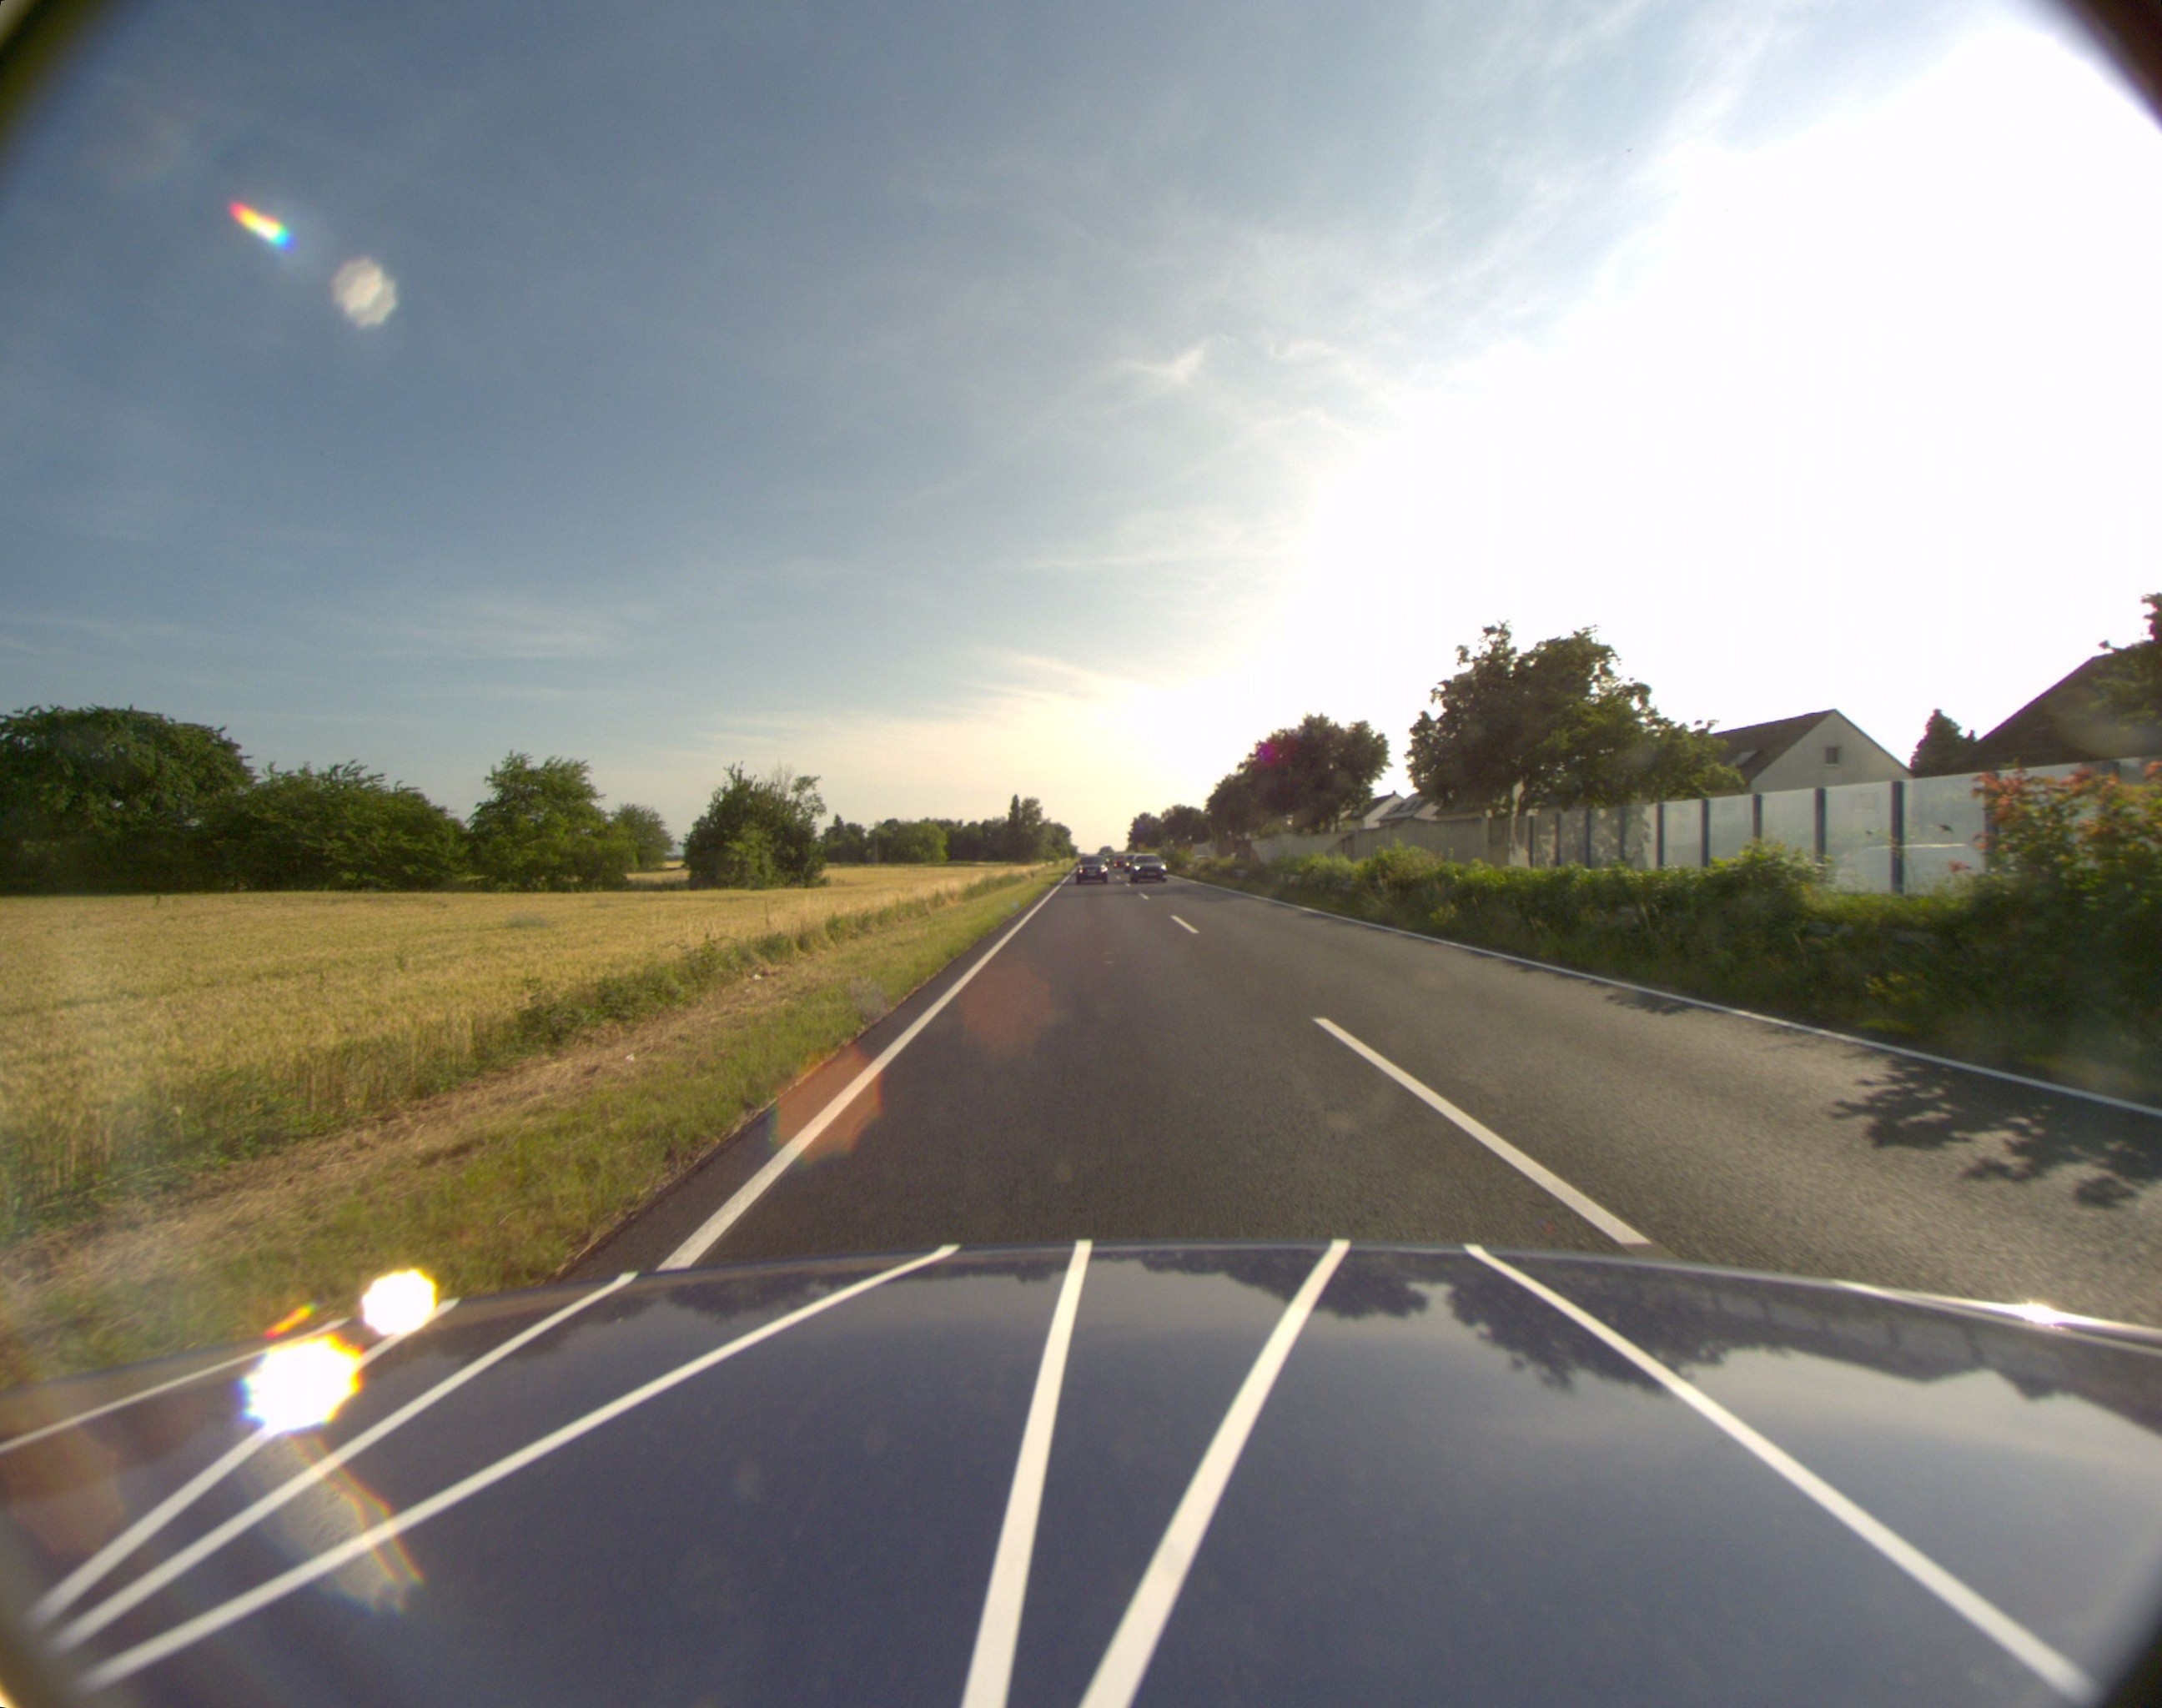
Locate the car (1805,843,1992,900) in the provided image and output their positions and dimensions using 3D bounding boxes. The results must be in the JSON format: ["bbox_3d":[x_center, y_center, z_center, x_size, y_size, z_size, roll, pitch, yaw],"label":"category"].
[{"bbox_3d":[30.548,0.568,28.681,1.790,1.908,4.914,-2,1,1],"label":"car"}]

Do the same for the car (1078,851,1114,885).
[{"bbox_3d":[0.842,0.741,41.817,1.822,1.661,4.000,-2,1,1],"label":"car"}]

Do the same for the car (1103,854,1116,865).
[{"bbox_3d":[4.231,0.800,113.800,1.700,1.456,3.646,-2,1,1],"label":"car"}]

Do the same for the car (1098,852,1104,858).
[{"bbox_3d":[6.732,0.371,252.013,1.854,1.641,3.999,-2,1,0],"label":"car"}]

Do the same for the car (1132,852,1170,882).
[{"bbox_3d":[3.934,0.713,43.346,1.821,1.516,4.246,-2,1,1],"label":"car"}]

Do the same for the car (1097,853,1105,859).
[{"bbox_3d":[5.329,0.485,200.954,1.854,1.641,3.999,-2,1,0],"label":"car"}]

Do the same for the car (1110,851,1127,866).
[{"bbox_3d":[4.328,0.505,88.274,1.822,1.661,4.000,-2,1,1],"label":"car"}]

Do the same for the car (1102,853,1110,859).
[{"bbox_3d":[5.857,0.443,176.443,1.693,1.397,4.000,-2,1,1],"label":"car"}]

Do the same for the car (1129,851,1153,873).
[{"bbox_3d":[5.153,0.690,65.959,1.822,1.724,4.000,-2,1,2],"label":"car"}]

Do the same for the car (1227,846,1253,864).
[{"bbox_3d":[16.261,0.069,77.878,1.842,1.784,4.299,-2,1,1],"label":"car"}]
